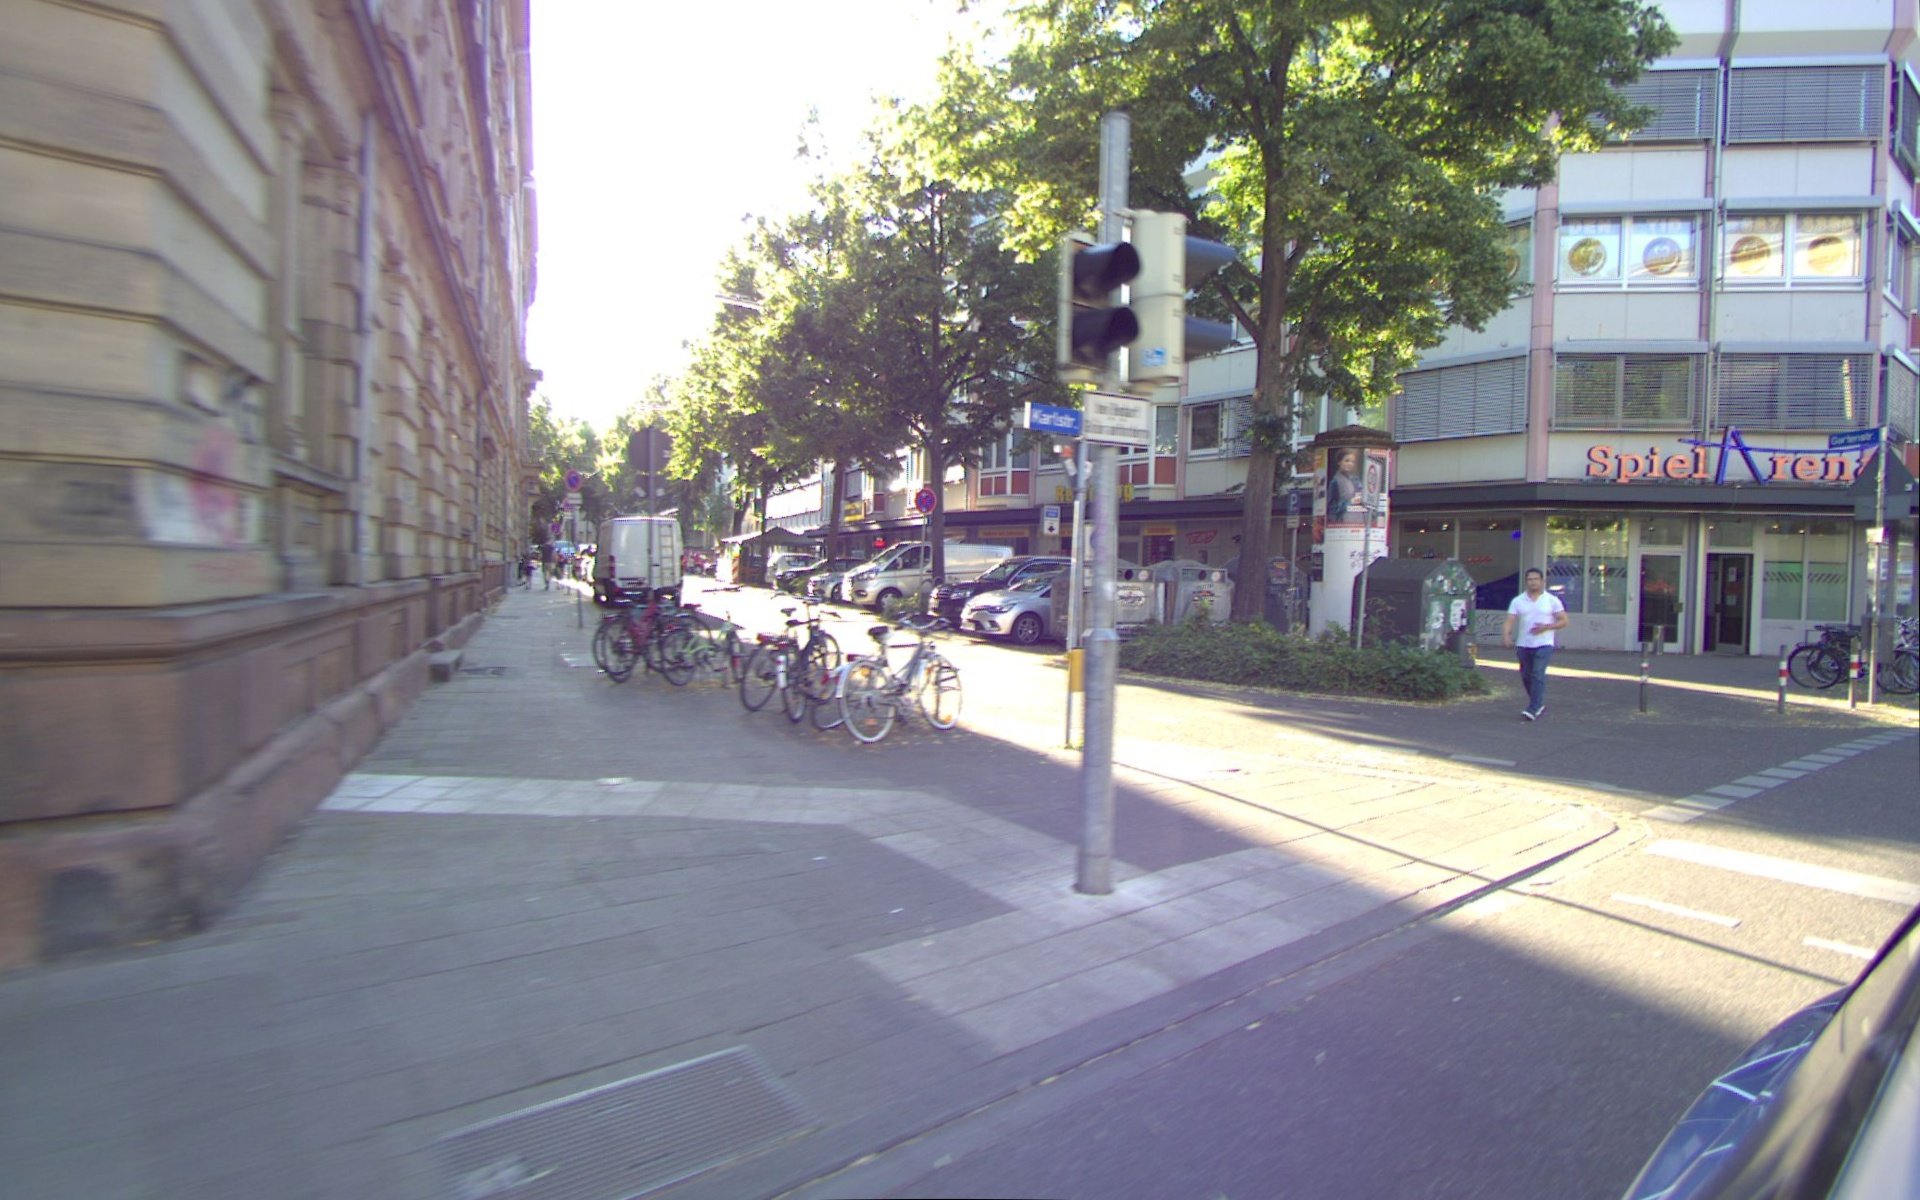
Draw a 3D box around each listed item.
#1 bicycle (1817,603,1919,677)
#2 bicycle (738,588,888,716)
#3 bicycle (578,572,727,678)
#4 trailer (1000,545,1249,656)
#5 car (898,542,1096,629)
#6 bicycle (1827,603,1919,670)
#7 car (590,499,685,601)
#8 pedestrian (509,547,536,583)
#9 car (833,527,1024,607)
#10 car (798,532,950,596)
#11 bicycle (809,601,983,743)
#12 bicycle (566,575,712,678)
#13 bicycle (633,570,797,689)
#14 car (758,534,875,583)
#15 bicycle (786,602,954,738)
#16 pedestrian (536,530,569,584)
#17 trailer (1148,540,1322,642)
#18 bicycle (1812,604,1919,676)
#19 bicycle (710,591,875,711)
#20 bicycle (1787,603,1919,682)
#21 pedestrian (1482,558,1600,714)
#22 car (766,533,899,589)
[{"bbox_3d":[15.344,0.649,16.519,0.603,1.118,1.974,0,2,-41],"label":"bicycle"},{"bbox_3d":[-1.321,0.425,9.496,0.458,1.052,1.892,1,1,23],"label":"bicycle"},{"bbox_3d":[-3.546,0.244,11.865,0.442,1.137,1.938,1,1,27],"label":"bicycle"},{"bbox_3d":[2.870,-0.054,17.798,3.851,1.753,1.977,-1,3,-24],"label":"trailer"},{"bbox_3d":[0.803,-0.347,22.138,3.851,1.753,1.977,-1,2,-24],"label":"car"},{"bbox_3d":[15.837,0.606,16.936,0.669,1.060,1.917,0,2,-41],"label":"bicycle"},{"bbox_3d":[-9.031,-1.308,28.033,1.932,2.550,4.884,0,1,-25],"label":"car"},{"bbox_3d":[-14.747,-1.162,34.138,0.810,1.195,0.931,0,1,-25],"label":"pedestrian"},{"bbox_3d":[-0.875,-0.896,28.020,4.943,2.076,1.908,0,1,-20],"label":"car"},{"bbox_3d":[-2.806,-1.128,32.820,4.544,1.964,1.977,0,1,-20],"label":"car"},{"bbox_3d":[-0.491,0.551,8.626,0.449,1.037,1.885,1,2,33],"label":"bicycle"},{"bbox_3d":[-3.833,0.279,12.239,0.402,1.137,1.887,1,2,31],"label":"bicycle"},{"bbox_3d":[-2.687,0.276,11.352,0.609,1.197,2.088,1,1,25],"label":"bicycle"},{"bbox_3d":[-6.103,-1.728,43.198,4.547,1.964,1.976,-1,1,-28],"label":"car"},{"bbox_3d":[-0.740,0.555,8.954,0.415,1.037,1.885,1,2,33],"label":"bicycle"},{"bbox_3d":[-13.940,-1.444,34.590,0.988,1.810,1.066,0,1,-25],"label":"pedestrian"},{"bbox_3d":[5.580,-0.224,20.540,3.121,1.906,1.583,-1,4,-28],"label":"trailer"},{"bbox_3d":[14.792,0.627,16.063,0.705,1.067,1.837,0,2,-41],"label":"bicycle"},{"bbox_3d":[-1.584,0.447,9.923,0.493,1.037,1.887,1,2,31],"label":"bicycle"},{"bbox_3d":[13.521,0.614,15.018,0.698,1.067,1.837,0,2,-41],"label":"bicycle"},{"bbox_3d":[6.641,0.387,11.563,1.014,1.686,0.786,2,0,-37],"label":"pedestrian"},{"bbox_3d":[-4.699,-1.395,37.269,4.544,1.964,1.977,0,1,-21],"label":"car"}]
